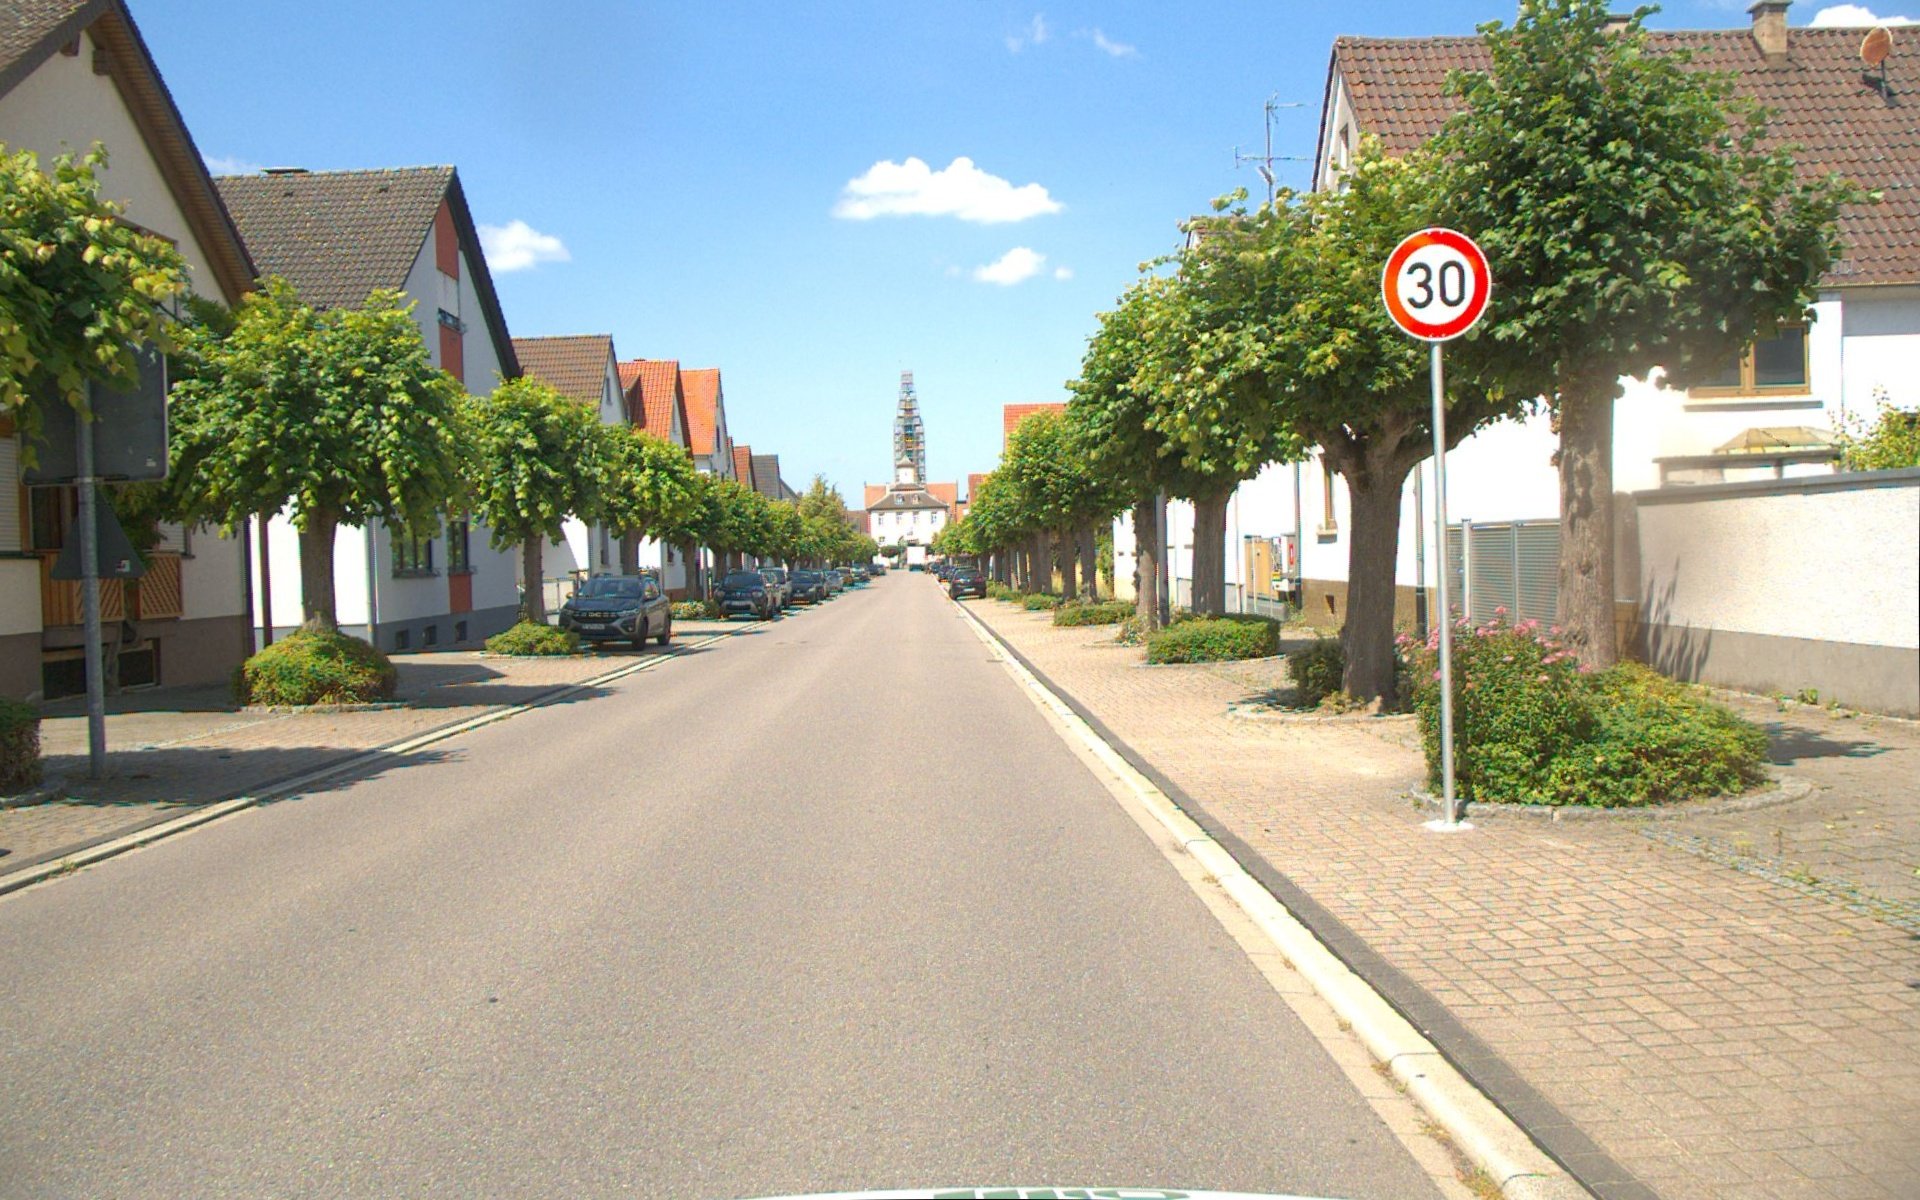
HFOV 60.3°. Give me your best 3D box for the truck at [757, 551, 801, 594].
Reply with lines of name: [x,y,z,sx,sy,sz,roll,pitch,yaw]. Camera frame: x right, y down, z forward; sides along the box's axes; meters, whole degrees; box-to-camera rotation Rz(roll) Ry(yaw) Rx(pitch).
truck: [-7.906,-1.216,72.436,1.544,1.796,4.191,0,1,-2]

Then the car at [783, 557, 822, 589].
car: [-8.441,-1.473,88.788,1.815,1.663,4.056,0,1,-2]

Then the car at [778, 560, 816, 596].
car: [-7.949,-1.092,80.578,1.752,1.662,3.994,-1,1,-7]

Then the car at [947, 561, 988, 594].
car: [0.358,-1.127,81.341,1.788,1.456,4.056,-4,2,-2]

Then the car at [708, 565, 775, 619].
car: [-7.327,-0.316,55.839,1.815,1.664,4.299,0,2,-2]

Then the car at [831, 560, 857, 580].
car: [-10.057,-2.598,143.141,1.953,1.639,4.689,-1,2,-1]

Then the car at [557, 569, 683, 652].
car: [-7.244,0.171,35.601,1.815,1.641,4.135,0,1,0]

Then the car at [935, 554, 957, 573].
car: [-1.283,-3.370,150.910,1.801,1.582,4.313,-4,2,-2]

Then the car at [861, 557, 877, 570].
car: [-11.438,-4.613,207.633,1.722,1.582,4.020,-2,2,-1]

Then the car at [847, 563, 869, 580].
car: [-10.158,-2.868,164.853,1.953,1.639,4.689,0,2,-1]

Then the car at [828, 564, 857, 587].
car: [-8.064,-1.702,113.617,1.803,1.420,4.405,-1,2,-2]
